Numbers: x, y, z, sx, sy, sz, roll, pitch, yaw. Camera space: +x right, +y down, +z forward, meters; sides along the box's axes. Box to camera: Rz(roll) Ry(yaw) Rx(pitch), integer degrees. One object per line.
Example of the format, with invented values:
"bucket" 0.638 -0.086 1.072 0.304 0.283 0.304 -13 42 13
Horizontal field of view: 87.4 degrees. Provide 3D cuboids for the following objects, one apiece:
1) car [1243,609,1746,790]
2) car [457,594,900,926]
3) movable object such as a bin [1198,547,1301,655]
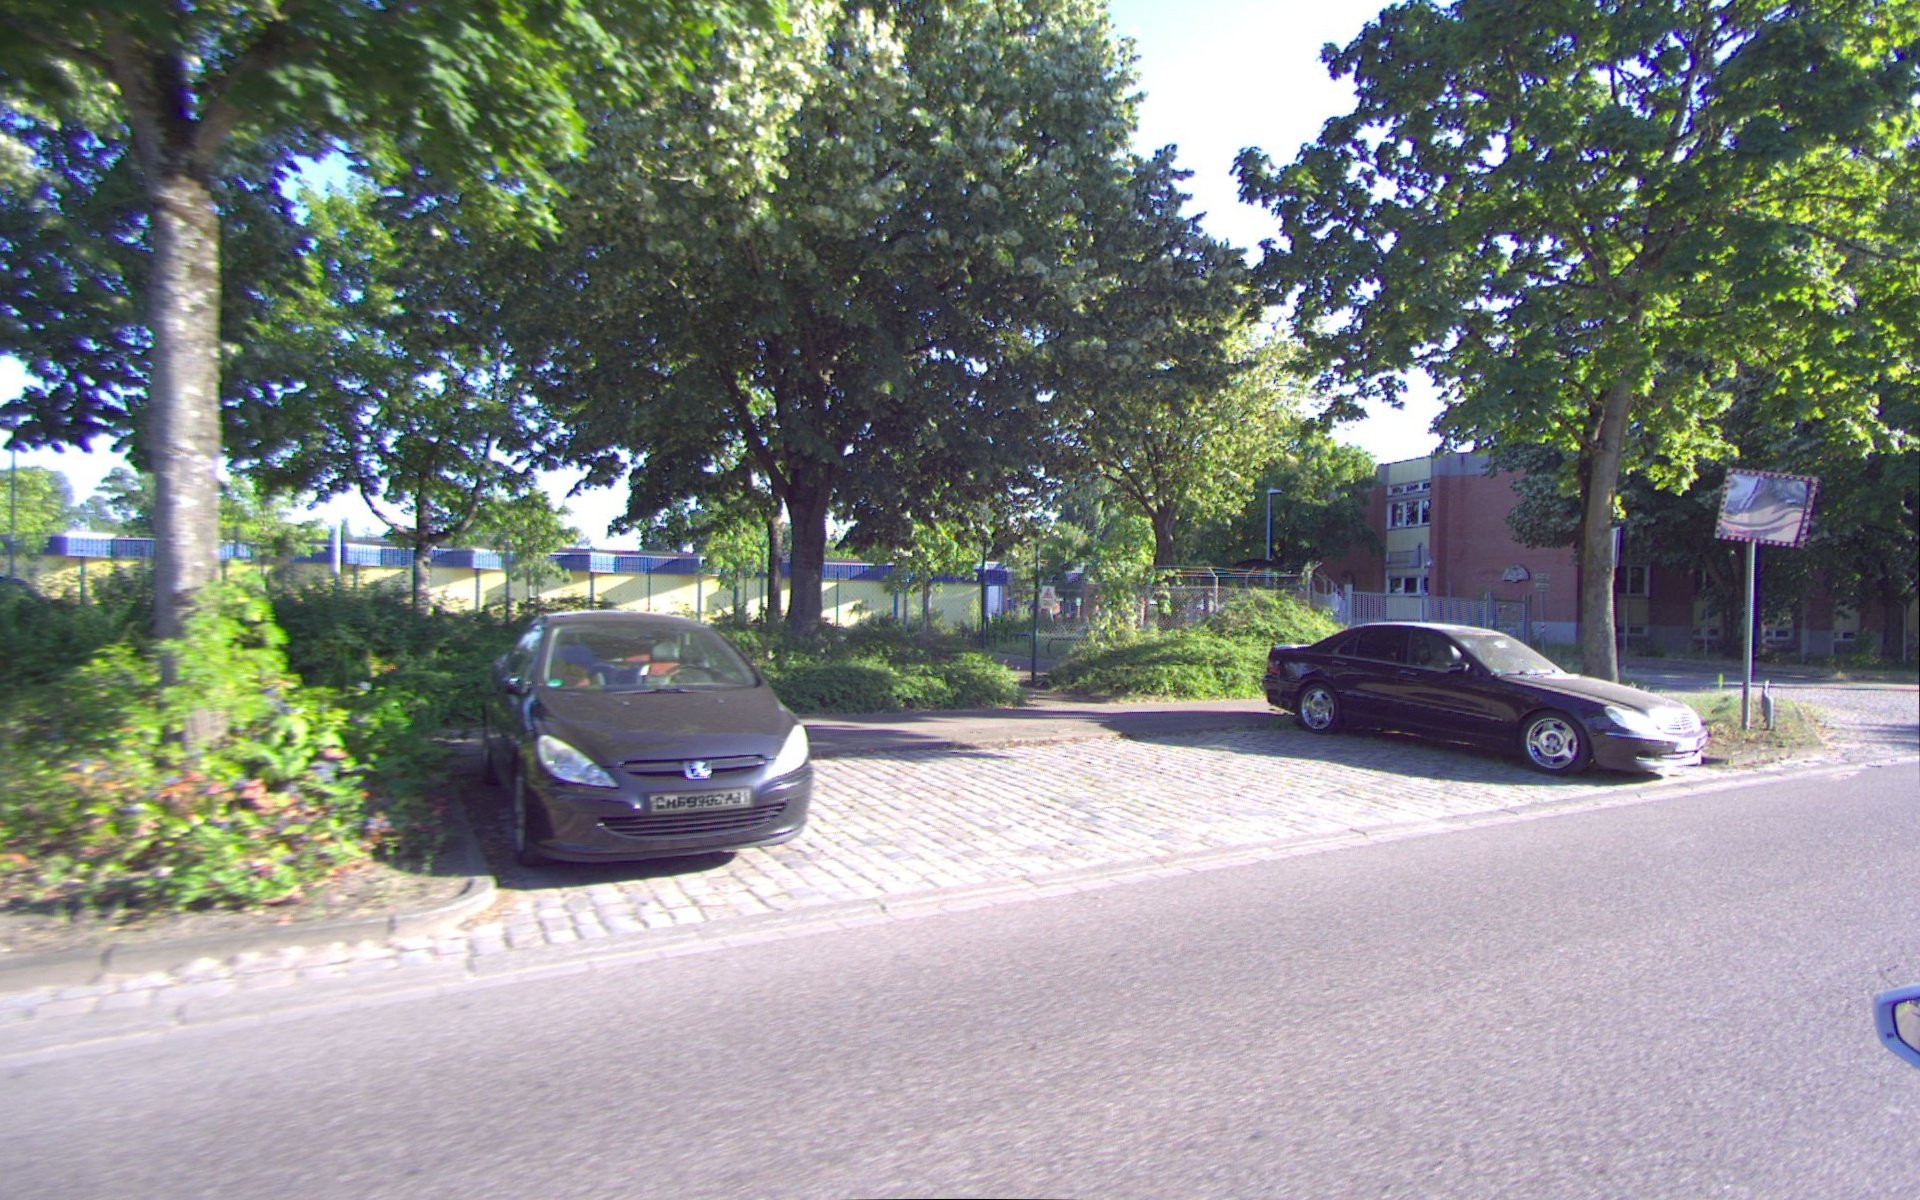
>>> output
"car" 6.009 0.979 12.063 1.977 1.482 5.008 2 1 -31
"car" -2.351 0.787 7.289 1.977 1.482 4.456 2 1 -31
"movable object such as a bin" 8.089 0.054 27.726 2.123 2.700 4.802 1 -1 23
